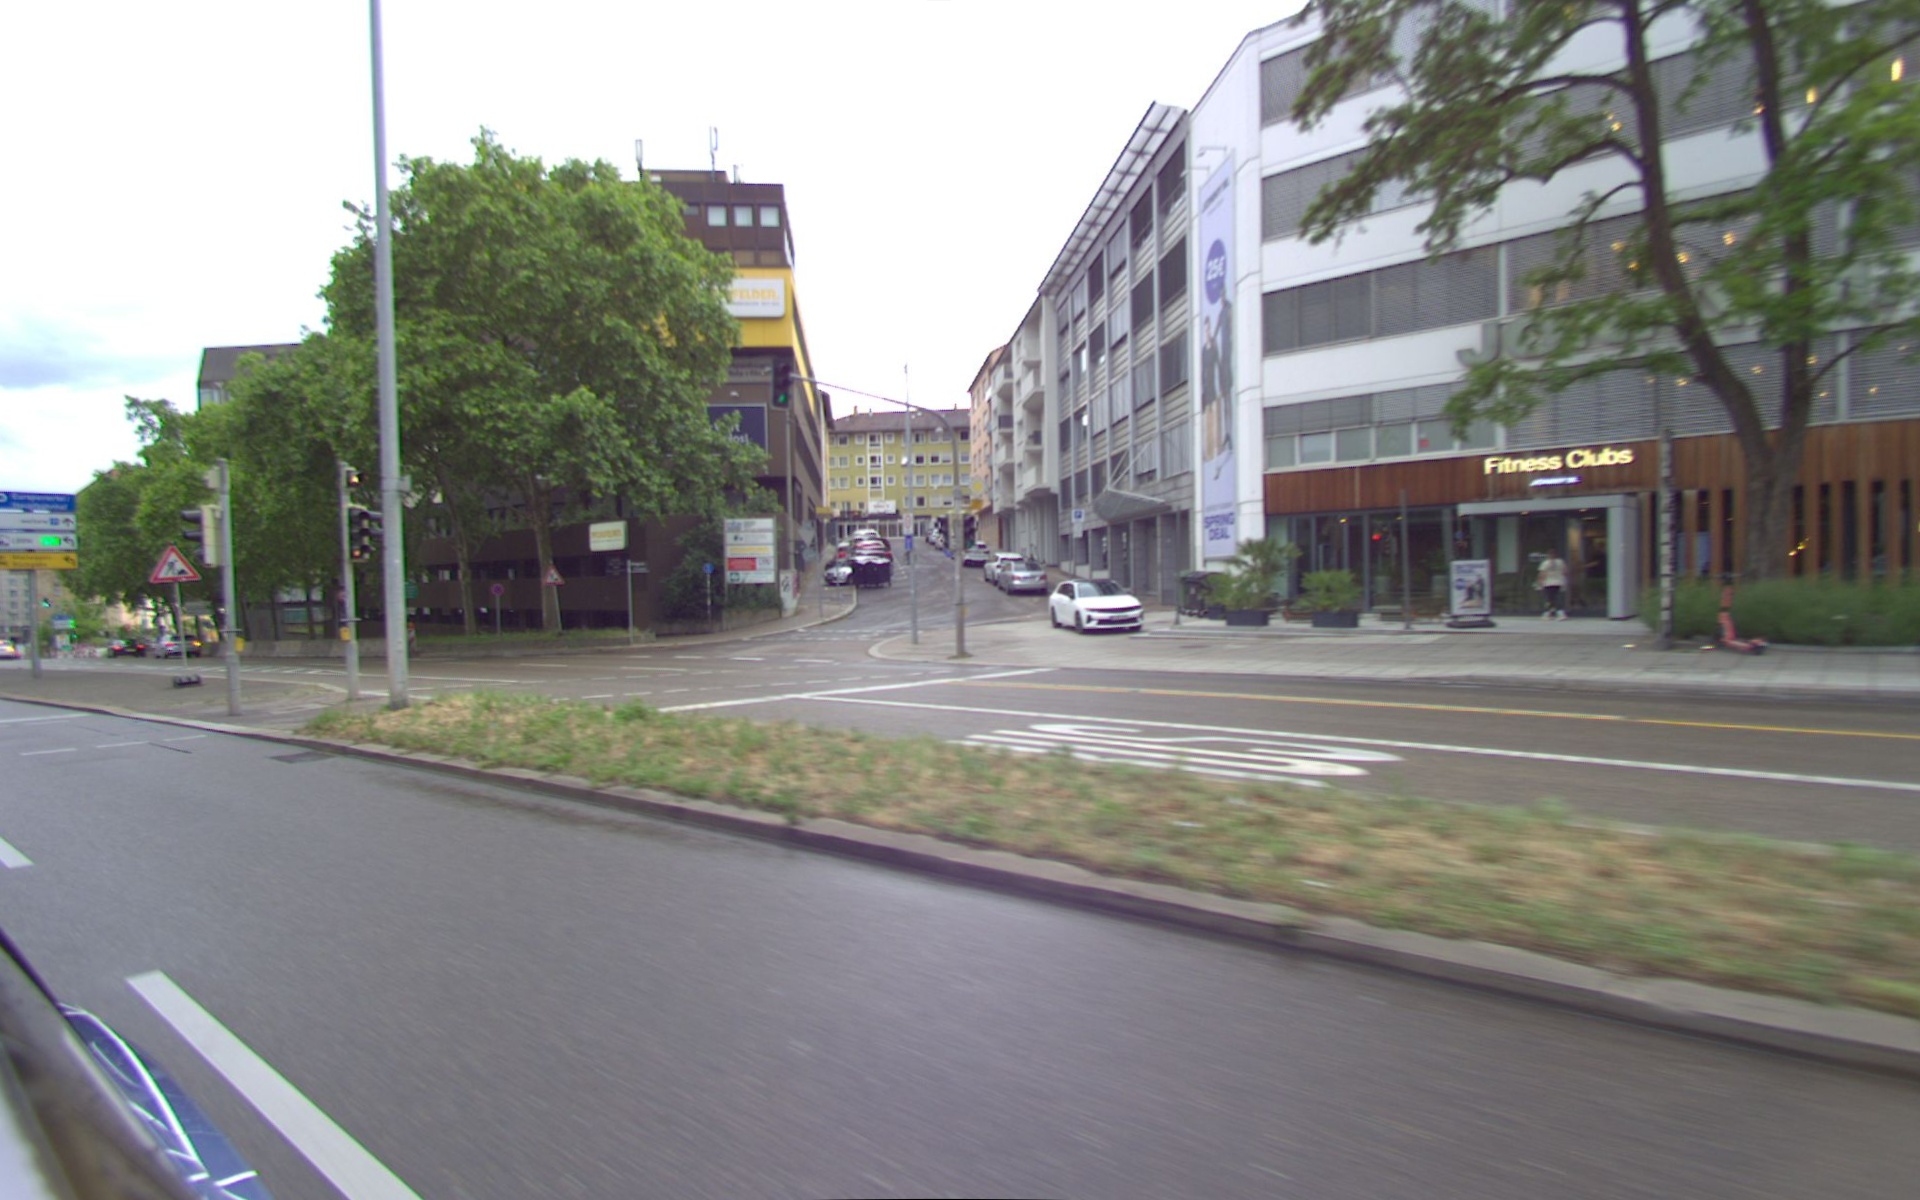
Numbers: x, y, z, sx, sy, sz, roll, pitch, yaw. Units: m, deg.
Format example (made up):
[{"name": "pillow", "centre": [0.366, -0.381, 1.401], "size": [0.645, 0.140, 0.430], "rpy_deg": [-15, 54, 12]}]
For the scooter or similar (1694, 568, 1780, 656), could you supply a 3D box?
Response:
[{"name": "scooter or similar", "centre": [12.296, 0.160, 16.061], "size": [0.366, 1.256, 1.749], "rpy_deg": [-2, 3, 13]}]

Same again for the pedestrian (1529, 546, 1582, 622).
[{"name": "pedestrian", "centre": [13.450, -0.348, 22.867], "size": [0.841, 1.653, 0.760], "rpy_deg": [-3, -2, 42]}]

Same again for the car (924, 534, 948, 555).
[{"name": "car", "centre": [-2.249, -5.198, 93.867], "size": [1.970, 1.829, 4.006], "rpy_deg": [-2, 4, -5]}]

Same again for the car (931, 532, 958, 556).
[{"name": "car", "centre": [-1.363, -4.857, 87.344], "size": [1.970, 2.028, 4.006], "rpy_deg": [-2, 4, -5]}]

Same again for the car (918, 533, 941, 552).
[{"name": "car", "centre": [-3.089, -5.751, 100.888], "size": [1.970, 1.829, 4.006], "rpy_deg": [-2, 4, -5]}]

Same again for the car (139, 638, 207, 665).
[{"name": "car", "centre": [-46.073, 3.008, 59.228], "size": [4.873, 1.458, 1.975], "rpy_deg": [-3, -1, 37]}]

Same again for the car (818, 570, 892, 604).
[{"name": "car", "centre": [-5.772, -0.705, 55.761], "size": [3.939, 1.696, 1.822], "rpy_deg": [-2, 0, -5]}]

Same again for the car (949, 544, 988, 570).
[{"name": "car", "centre": [0.535, -2.824, 67.035], "size": [1.969, 1.586, 4.495], "rpy_deg": [-3, 2, -7]}]

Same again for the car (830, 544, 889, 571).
[{"name": "car", "centre": [-6.871, -2.950, 69.419], "size": [3.939, 1.696, 1.823], "rpy_deg": [-2, 4, -5]}]

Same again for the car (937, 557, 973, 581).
[{"name": "car", "centre": [-0.373, -2.254, 73.152], "size": [1.969, 1.586, 4.495], "rpy_deg": [-5, 2, -7]}]

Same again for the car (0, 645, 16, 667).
[{"name": "car", "centre": [-70.921, 4.111, 74.211], "size": [3.732, 1.530, 1.738], "rpy_deg": [-3, -1, 35]}]

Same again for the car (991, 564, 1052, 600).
[{"name": "car", "centre": [2.809, -0.879, 47.391], "size": [1.969, 1.476, 4.495], "rpy_deg": [-3, 2, -7]}]

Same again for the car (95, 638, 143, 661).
[{"name": "car", "centre": [-57.415, 3.383, 69.067], "size": [4.166, 1.530, 1.736], "rpy_deg": [-3, -2, 39]}]

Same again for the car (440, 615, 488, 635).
[{"name": "car", "centre": [-47.744, 2.389, 97.498], "size": [3.931, 1.730, 2.006], "rpy_deg": [-2, -1, -23]}]

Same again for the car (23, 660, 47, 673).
[{"name": "car", "centre": [-118.130, 8.482, 129.205], "size": [4.505, 1.447, 1.913], "rpy_deg": [-3, -2, 43]}]

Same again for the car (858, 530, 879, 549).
[{"name": "car", "centre": [-8.445, -5.577, 93.245], "size": [1.793, 1.696, 4.006], "rpy_deg": [-2, 4, -5]}]

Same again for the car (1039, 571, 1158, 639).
[{"name": "car", "centre": [3.869, 0.049, 29.175], "size": [1.968, 1.666, 4.854], "rpy_deg": [-3, 2, -9]}]

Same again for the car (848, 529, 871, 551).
[{"name": "car", "centre": [-8.234, -4.918, 82.813], "size": [1.793, 1.696, 4.006], "rpy_deg": [-2, 4, -5]}]

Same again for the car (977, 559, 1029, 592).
[{"name": "car", "centre": [2.206, -1.306, 53.059], "size": [1.969, 1.586, 4.495], "rpy_deg": [-3, 2, -7]}]
